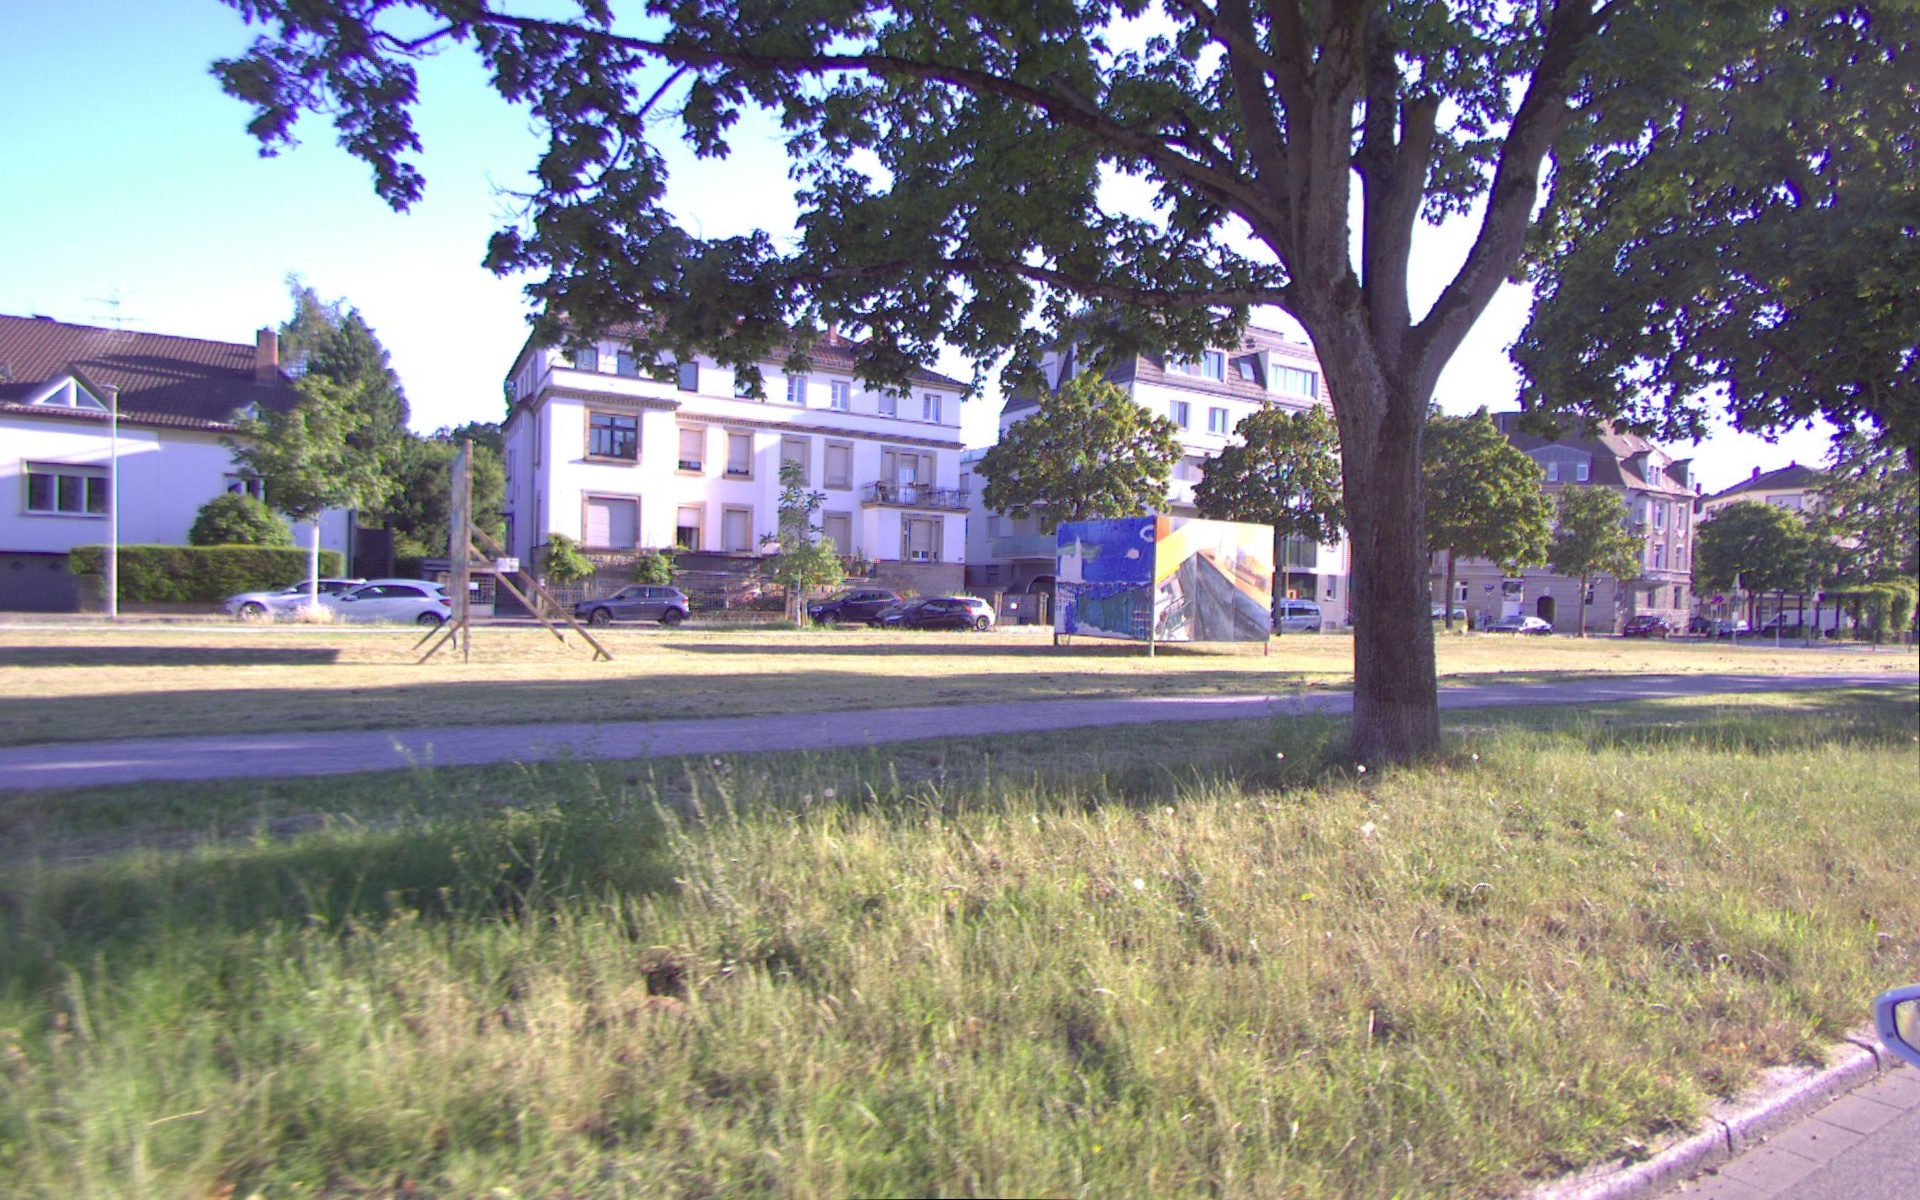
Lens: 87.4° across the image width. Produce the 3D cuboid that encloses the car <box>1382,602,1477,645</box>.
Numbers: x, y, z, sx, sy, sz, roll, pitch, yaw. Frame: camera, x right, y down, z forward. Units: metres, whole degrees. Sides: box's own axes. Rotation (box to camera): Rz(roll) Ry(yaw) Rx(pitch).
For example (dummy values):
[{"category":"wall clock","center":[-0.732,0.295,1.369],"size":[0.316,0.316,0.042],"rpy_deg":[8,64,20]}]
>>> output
[{"category":"car","center":[24.777,1.273,52.969],"size":[4.992,2.084,1.985],"rpy_deg":[2,-4,-30]}]

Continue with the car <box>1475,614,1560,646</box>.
[{"category":"car","center":[31.911,1.746,57.440],"size":[4.768,1.658,1.976],"rpy_deg":[2,-4,-29]}]

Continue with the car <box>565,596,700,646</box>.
[{"category":"car","center":[-12.354,0.859,38.000],"size":[4.612,1.724,1.774],"rpy_deg":[2,-4,-30]}]

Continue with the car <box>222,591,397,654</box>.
[{"category":"car","center":[-21.105,0.797,32.846],"size":[4.659,1.878,1.722],"rpy_deg":[2,-4,-30]}]

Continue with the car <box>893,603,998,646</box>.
[{"category":"car","center":[-0.620,1.139,45.112],"size":[4.406,1.766,1.814],"rpy_deg":[2,-4,-29]}]

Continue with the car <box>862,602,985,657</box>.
[{"category":"car","center":[-1.360,1.146,37.840],"size":[4.276,1.941,1.881],"rpy_deg":[2,-4,-30]}]

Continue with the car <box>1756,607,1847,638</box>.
[{"category":"car","center":[78.572,2.103,93.954],"size":[6.203,2.756,1.999],"rpy_deg":[1,0,31]}]

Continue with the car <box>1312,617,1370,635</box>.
[{"category":"car","center":[28.788,1.946,75.934],"size":[1.674,1.235,3.969],"rpy_deg":[1,-1,-29]}]

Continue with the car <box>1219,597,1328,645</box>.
[{"category":"car","center":[14.817,1.041,47.360],"size":[5.315,2.027,2.007],"rpy_deg":[2,-4,-34]}]

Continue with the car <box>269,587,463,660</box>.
[{"category":"car","center":[-16.808,0.744,28.681],"size":[4.586,1.924,1.826],"rpy_deg":[2,-4,-29]}]

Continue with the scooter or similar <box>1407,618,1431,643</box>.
[{"category":"scooter or similar","center":[20.929,1.387,45.777],"size":[1.285,1.142,0.389],"rpy_deg":[1,1,-38]}]

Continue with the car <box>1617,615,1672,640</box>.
[{"category":"car","center":[51.023,2.065,74.841],"size":[4.241,1.729,1.637],"rpy_deg":[2,-4,-29]}]

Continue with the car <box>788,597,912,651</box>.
[{"category":"car","center":[-4.681,1.087,42.829],"size":[4.795,2.158,2.229],"rpy_deg":[2,-4,-29]}]
